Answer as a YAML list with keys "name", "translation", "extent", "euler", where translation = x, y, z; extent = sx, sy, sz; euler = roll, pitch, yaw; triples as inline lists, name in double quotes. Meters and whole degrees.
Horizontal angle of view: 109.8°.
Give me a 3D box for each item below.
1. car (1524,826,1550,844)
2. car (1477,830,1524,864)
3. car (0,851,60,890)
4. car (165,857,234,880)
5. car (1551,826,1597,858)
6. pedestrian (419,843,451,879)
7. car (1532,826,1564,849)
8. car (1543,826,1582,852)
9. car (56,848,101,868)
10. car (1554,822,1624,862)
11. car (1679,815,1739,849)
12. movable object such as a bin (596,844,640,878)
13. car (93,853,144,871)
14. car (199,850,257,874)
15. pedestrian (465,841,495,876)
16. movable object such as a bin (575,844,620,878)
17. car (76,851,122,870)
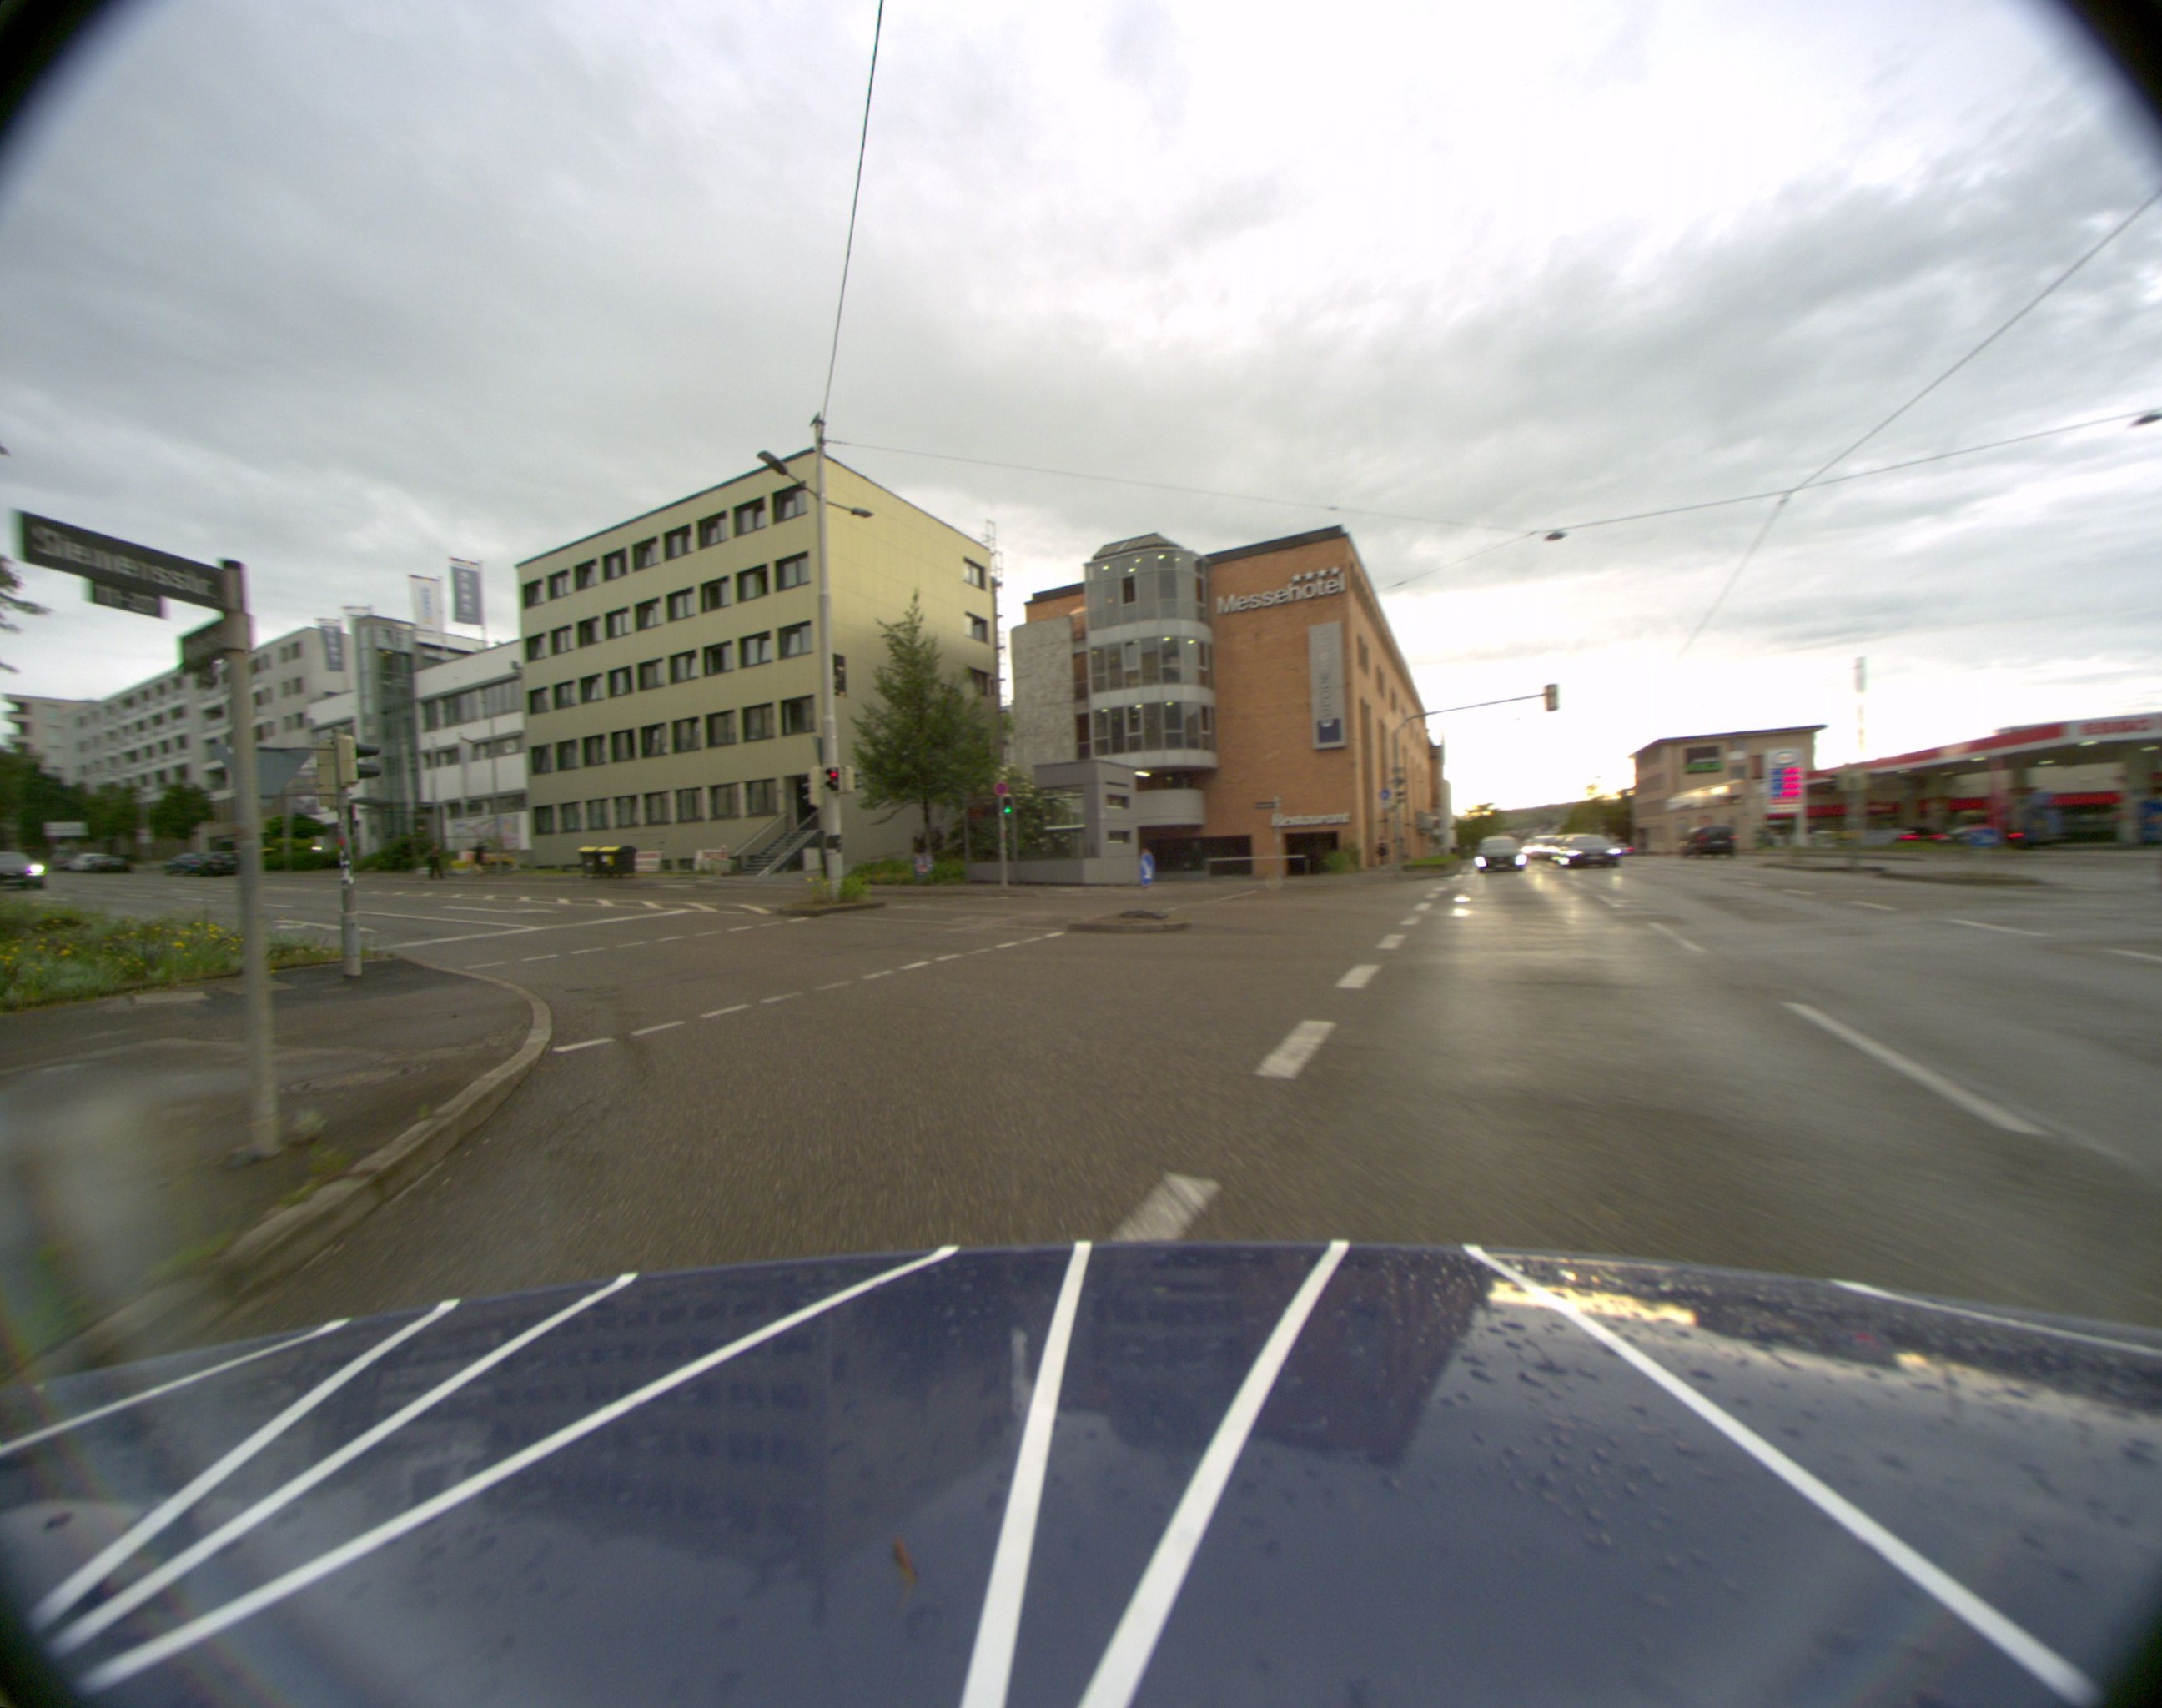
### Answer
- name: "car"
  translation: [38.262, -1.604, 63.794]
  extent: [1.694, 1.392, 4.095]
  euler: [-3, 1, 30]
- name: "car"
  translation: [18.333, -0.325, 33.271]
  extent: [1.647, 1.313, 4.006]
  euler: [-3, 1, 28]
- name: "car"
  translation: [-47.431, 0.716, 33.702]
  extent: [3.989, 1.566, 2.003]
  euler: [0, 5, 30]
- name: "car"
  translation: [-57.684, 0.968, 49.740]
  extent: [4.259, 1.396, 1.663]
  euler: [-1, 2, 23]
- name: "car"
  translation: [24.788, -0.635, 38.315]
  extent: [1.694, 1.392, 4.095]
  euler: [-3, 1, 30]
- name: "pedestrian"
  translation: [-31.517, 0.340, 37.089]
  extent: [0.966, 1.668, 0.770]
  euler: [1, 5, 29]
- name: "car"
  translation: [31.805, -1.158, 51.790]
  extent: [1.694, 1.392, 4.095]
  euler: [-3, 1, 30]
- name: "car"
  translation: [28.239, -0.906, 44.612]
  extent: [1.694, 1.392, 4.095]
  euler: [-3, 1, 30]
- name: "car"
  translation: [-83.584, 0.358, 63.328]
  extent: [3.962, 1.608, 1.635]
  euler: [0, 0, 28]
- name: "car"
  translation: [21.726, -0.548, 32.667]
  extent: [1.961, 1.516, 4.269]
  euler: [-3, 0, 27]
- name: "car"
  translation: [35.550, -1.261, 43.124]
  extent: [1.853, 1.759, 4.137]
  euler: [-1, 3, 28]
- name: "movable object such as a bin"
  translation: [-20.455, 0.294, 33.570]
  extent: [1.354, 1.438, 1.059]
  euler: [1, 5, 30]
- name: "car"
  translation: [-74.858, 0.591, 59.080]
  extent: [3.730, 1.383, 1.666]
  euler: [0, 1, 26]
- name: "car"
  translation: [-53.887, 0.499, 48.001]
  extent: [2.975, 1.501, 1.522]
  euler: [0, 0, 23]
- name: "pedestrian"
  translation: [-30.267, 0.224, 38.251]
  extent: [0.939, 1.723, 0.758]
  euler: [1, 5, 30]
- name: "movable object such as a bin"
  translation: [-21.820, 0.299, 34.305]
  extent: [1.426, 1.438, 1.059]
  euler: [1, 5, 30]
- name: "car"
  translation: [-79.098, 0.501, 61.199]
  extent: [3.413, 1.459, 1.601]
  euler: [0, 0, 27]
